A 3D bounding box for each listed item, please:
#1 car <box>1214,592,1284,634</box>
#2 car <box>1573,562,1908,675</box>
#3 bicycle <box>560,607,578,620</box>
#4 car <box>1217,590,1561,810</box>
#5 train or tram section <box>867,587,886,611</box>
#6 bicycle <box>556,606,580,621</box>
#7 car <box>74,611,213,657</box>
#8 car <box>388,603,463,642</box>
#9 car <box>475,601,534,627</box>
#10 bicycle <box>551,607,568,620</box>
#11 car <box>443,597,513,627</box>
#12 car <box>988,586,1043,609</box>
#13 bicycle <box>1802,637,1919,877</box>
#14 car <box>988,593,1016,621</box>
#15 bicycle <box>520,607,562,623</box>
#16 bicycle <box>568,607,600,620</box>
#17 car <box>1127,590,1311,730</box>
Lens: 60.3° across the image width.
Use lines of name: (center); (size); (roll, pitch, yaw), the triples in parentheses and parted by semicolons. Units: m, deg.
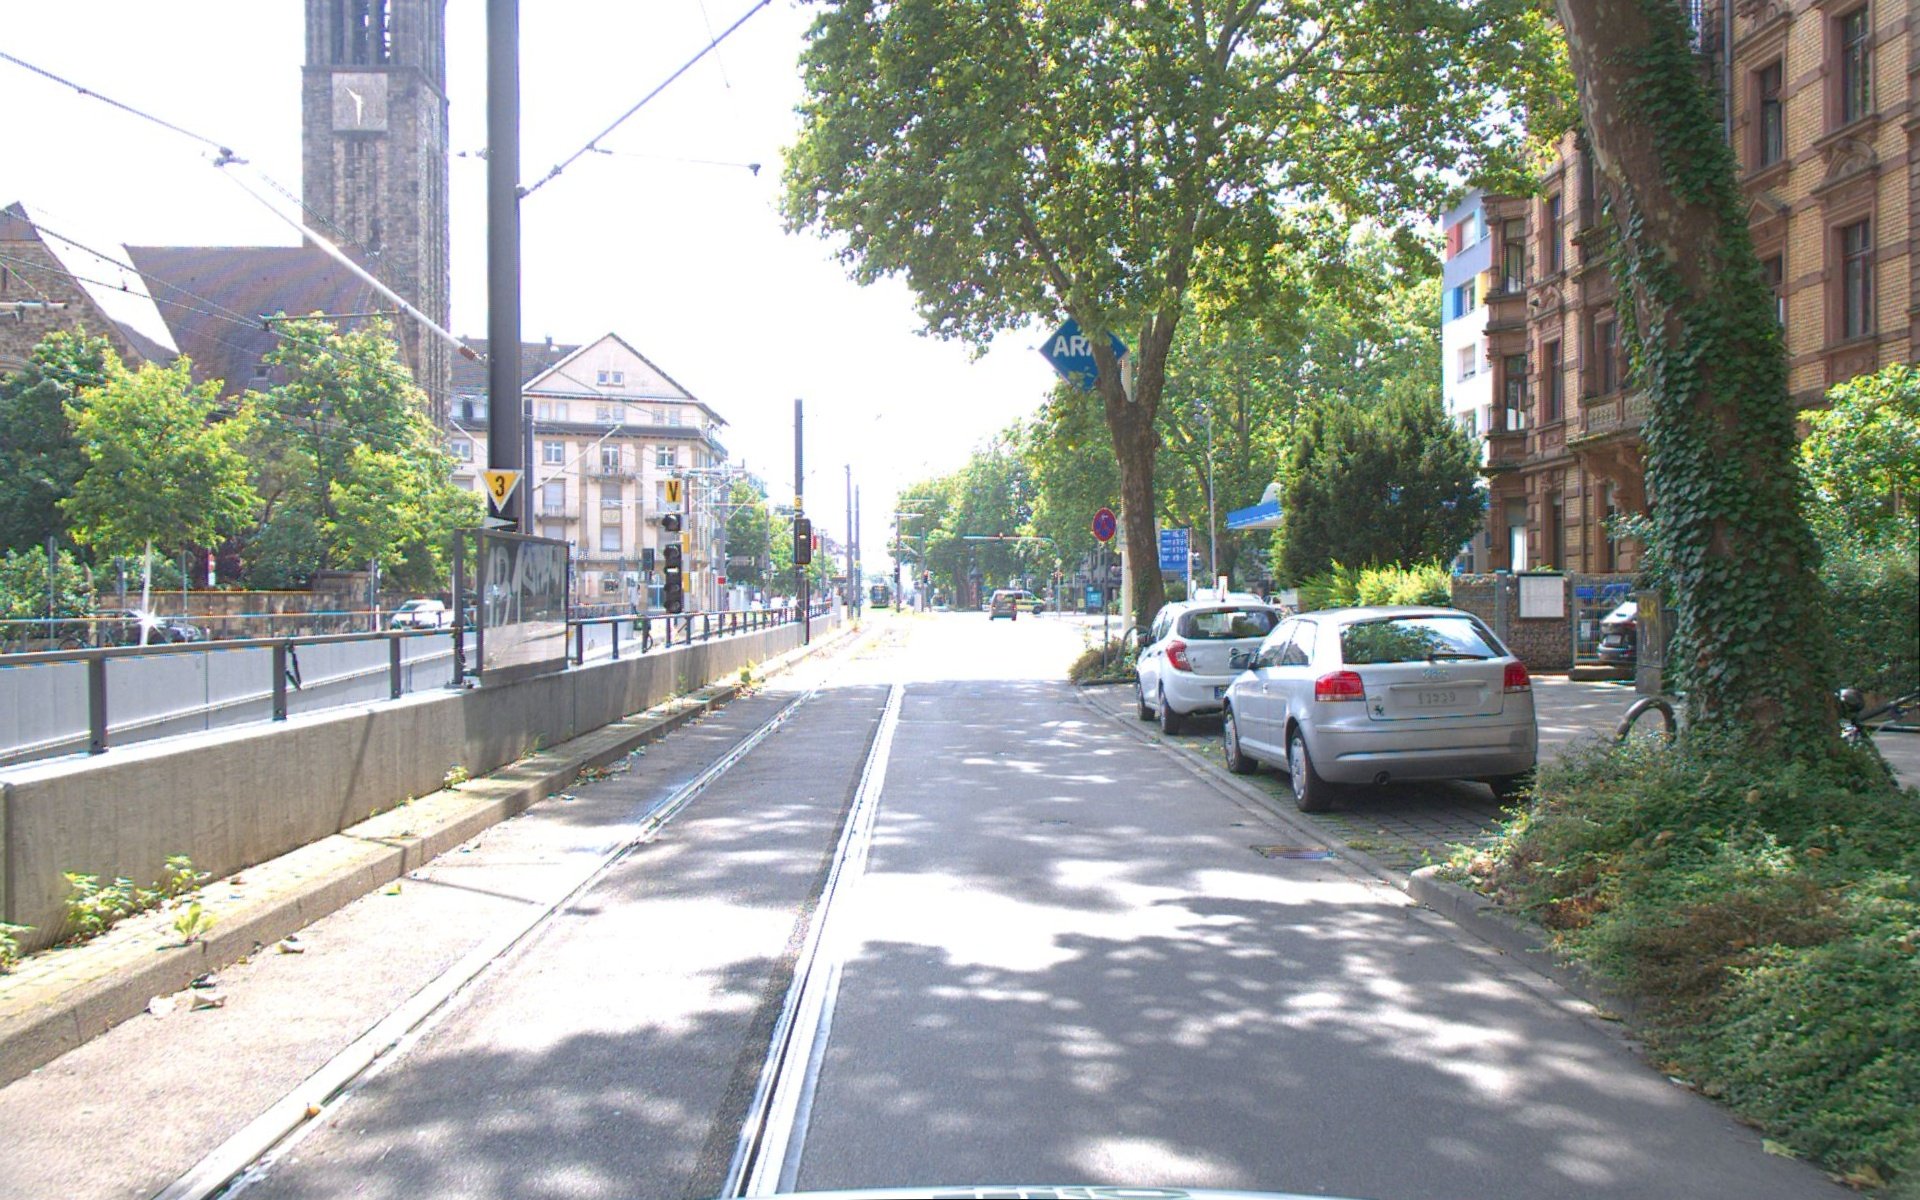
car: (10.590, 0.450, 60.871); (1.769, 1.481, 4.000); (0, 0, -2)
car: (11.799, 0.277, 25.199); (4.148, 1.495, 1.941); (-2, 0, -1)
bicycle: (-32.673, 1.117, 138.215); (0.795, 1.071, 2.540); (-1, 0, -30)
car: (3.234, 0.682, 13.223); (1.644, 1.469, 3.857); (-1, 0, -2)
train or tram section: (-12.211, -0.151, 242.203); (2.195, 3.390, 12.969); (-1, 0, -1)
bicycle: (-32.144, 1.112, 135.669); (1.956, 1.134, 0.480); (-1, 0, -38)
car: (-27.978, 1.156, 56.762); (3.882, 1.489, 1.723); (-1, 0, -1)
car: (-22.280, 0.896, 69.084); (1.892, 1.531, 4.412); (-1, 0, -3)
car: (-28.632, 0.866, 104.024); (3.200, 1.528, 1.853); (-1, 0, -3)
bicycle: (-33.398, 1.108, 137.845); (0.732, 1.071, 2.540); (-1, 0, -30)
car: (-29.331, 0.723, 100.728); (3.793, 1.779, 1.893); (-1, 0, -4)
car: (4.906, -0.208, 145.455); (4.634, 1.892, 2.001); (-1, 0, 6)
bicycle: (4.527, 0.708, 7.562); (0.568, 1.037, 1.322); (-1, 0, -6)
car: (2.768, 0.455, 109.174); (1.715, 1.840, 3.474); (1, 0, -1)
bicycle: (-34.513, 1.225, 136.149); (3.239, 1.275, 0.999); (-1, 0, 15)
bicycle: (-31.172, 1.127, 137.104); (2.529, 1.071, 0.676); (-1, 0, -29)
car: (3.053, 0.670, 20.162); (1.522, 1.511, 3.857); (-1, 0, -1)
